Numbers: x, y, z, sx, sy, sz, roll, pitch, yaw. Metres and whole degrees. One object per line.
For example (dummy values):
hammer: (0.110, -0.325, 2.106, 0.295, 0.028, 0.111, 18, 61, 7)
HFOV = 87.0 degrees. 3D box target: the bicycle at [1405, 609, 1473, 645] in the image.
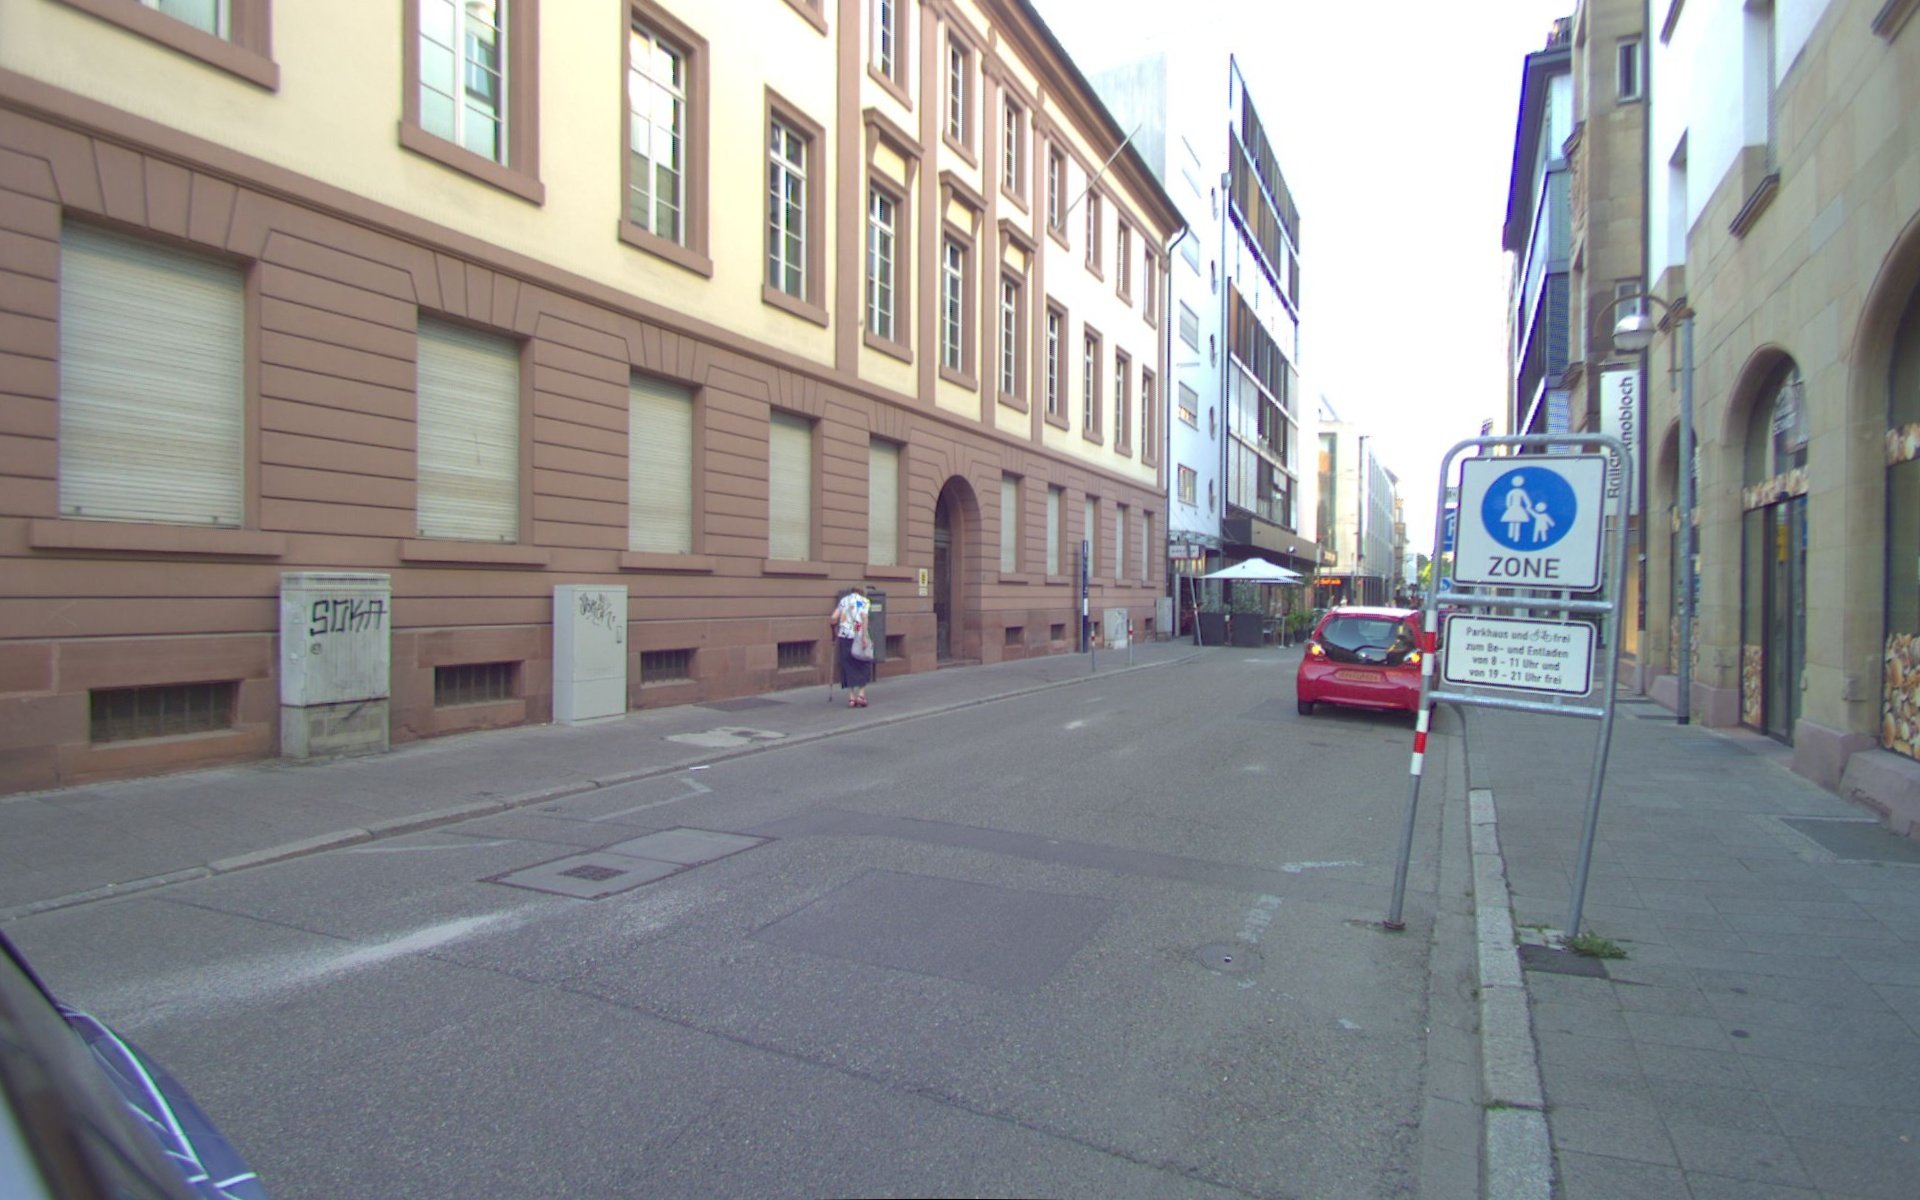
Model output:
bicycle: (15.678, 0.884, 33.147, 1.945, 1.139, 0.614, -2, -1, 28)

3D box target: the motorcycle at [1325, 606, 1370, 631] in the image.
motorcycle: (20.598, 0.993, 53.790, 2.185, 1.292, 0.645, 0, 0, 29)

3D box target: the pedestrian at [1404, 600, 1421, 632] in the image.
pedestrian: (24.099, 0.847, 53.868, 0.807, 1.684, 0.923, 0, -1, 25)

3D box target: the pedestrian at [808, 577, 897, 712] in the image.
pedestrian: (-1.404, 0.562, 13.281, 0.807, 1.684, 0.923, 0, -1, 25)

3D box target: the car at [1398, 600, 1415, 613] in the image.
car: (46.115, 0.703, 104.484, 1.419, 1.310, 3.531, -2, -1, 26)

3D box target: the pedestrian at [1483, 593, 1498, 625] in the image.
pedestrian: (28.449, 0.497, 54.260, 0.668, 1.684, 0.756, 0, -1, 28)

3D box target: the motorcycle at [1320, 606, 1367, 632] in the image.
motorcycle: (19.456, 0.973, 51.397, 2.185, 1.292, 0.645, 0, 0, 29)

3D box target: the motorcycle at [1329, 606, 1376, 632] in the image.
motorcycle: (20.187, 0.977, 52.077, 2.185, 1.292, 0.645, 0, 0, 29)

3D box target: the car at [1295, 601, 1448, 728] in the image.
car: (5.705, 0.780, 13.837, 1.631, 1.452, 3.127, 2, 1, 27)
